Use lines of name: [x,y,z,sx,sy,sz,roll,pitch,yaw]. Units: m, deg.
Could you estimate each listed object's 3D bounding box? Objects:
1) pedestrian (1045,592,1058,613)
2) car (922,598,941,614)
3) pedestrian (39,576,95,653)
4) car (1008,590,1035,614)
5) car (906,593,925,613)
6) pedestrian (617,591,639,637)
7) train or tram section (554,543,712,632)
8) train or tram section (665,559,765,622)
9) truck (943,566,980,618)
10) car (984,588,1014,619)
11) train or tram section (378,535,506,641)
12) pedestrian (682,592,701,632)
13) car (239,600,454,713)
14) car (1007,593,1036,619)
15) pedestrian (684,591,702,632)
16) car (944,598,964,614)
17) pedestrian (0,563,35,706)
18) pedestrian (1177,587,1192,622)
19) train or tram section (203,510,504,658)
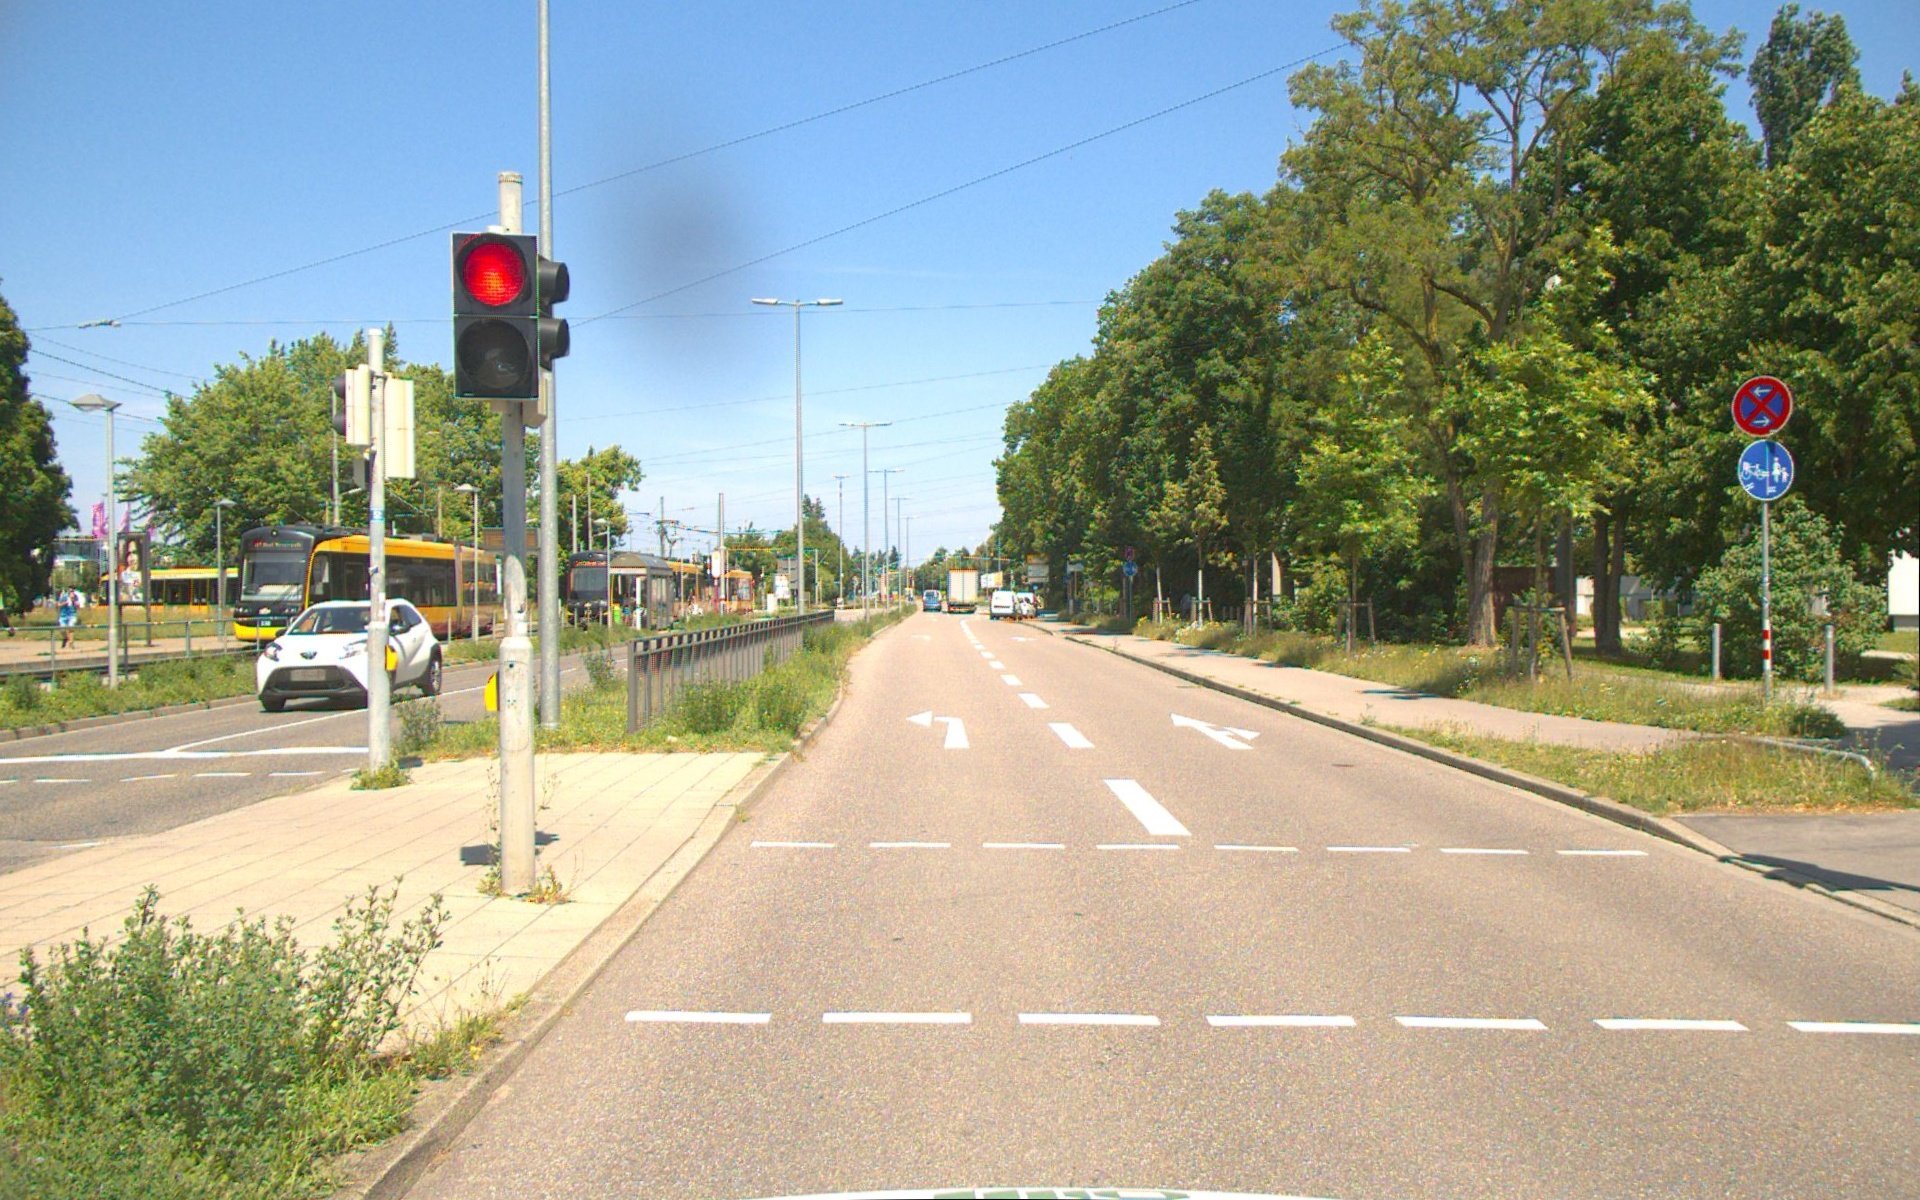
pedestrian: [9.041,0.203,163.419,1.161,2.049,1.213,0,0,-1]
car: [-2.687,0.529,157.835,1.774,1.490,3.999,0,0,-1]
pedestrian: [-23.972,0.380,44.416,0.961,2.049,1.021,0,0,-1]
car: [4.404,0.123,118.854,1.743,1.698,3.999,0,0,-1]
car: [-4.700,0.340,175.088,1.953,2.049,3.999,0,0,-1]
pedestrian: [-13.851,0.594,69.081,0.769,1.901,0.817,0,0,-1]
train or tram section: [-16.394,-0.590,86.516,2.898,3.815,30.025,0,0,-1]
train or tram section: [-17.008,-0.650,118.022,2.871,3.856,33.079,0,0,-1]
truck: [0.069,-0.724,146.065,3.140,4.435,6.559,0,0,-1]
car: [2.452,0.225,105.549,1.743,1.937,3.999,0,0,-1]
train or tram section: [-22.597,-0.478,71.201,3.173,4.000,18.360,0,0,-24]
pedestrian: [-13.744,0.594,84.728,0.798,2.049,0.938,0,0,-1]
car: [-8.975,0.768,24.530,1.807,1.521,3.790,0,0,-1]
car: [4.180,0.403,112.502,1.743,1.698,3.999,0,0,-1]
pedestrian: [-13.467,0.593,83.439,0.798,2.049,0.938,0,0,-1]
car: [-0.592,0.569,153.599,1.774,1.490,3.999,0,0,-1]
pedestrian: [-12.681,0.435,21.531,0.703,1.808,0.842,4,2,-1]
pedestrian: [9.375,0.185,68.986,0.591,1.463,0.556,0,0,6]
train or tram section: [-19.075,-0.469,54.288,3.150,4.000,18.499,0,0,0]
